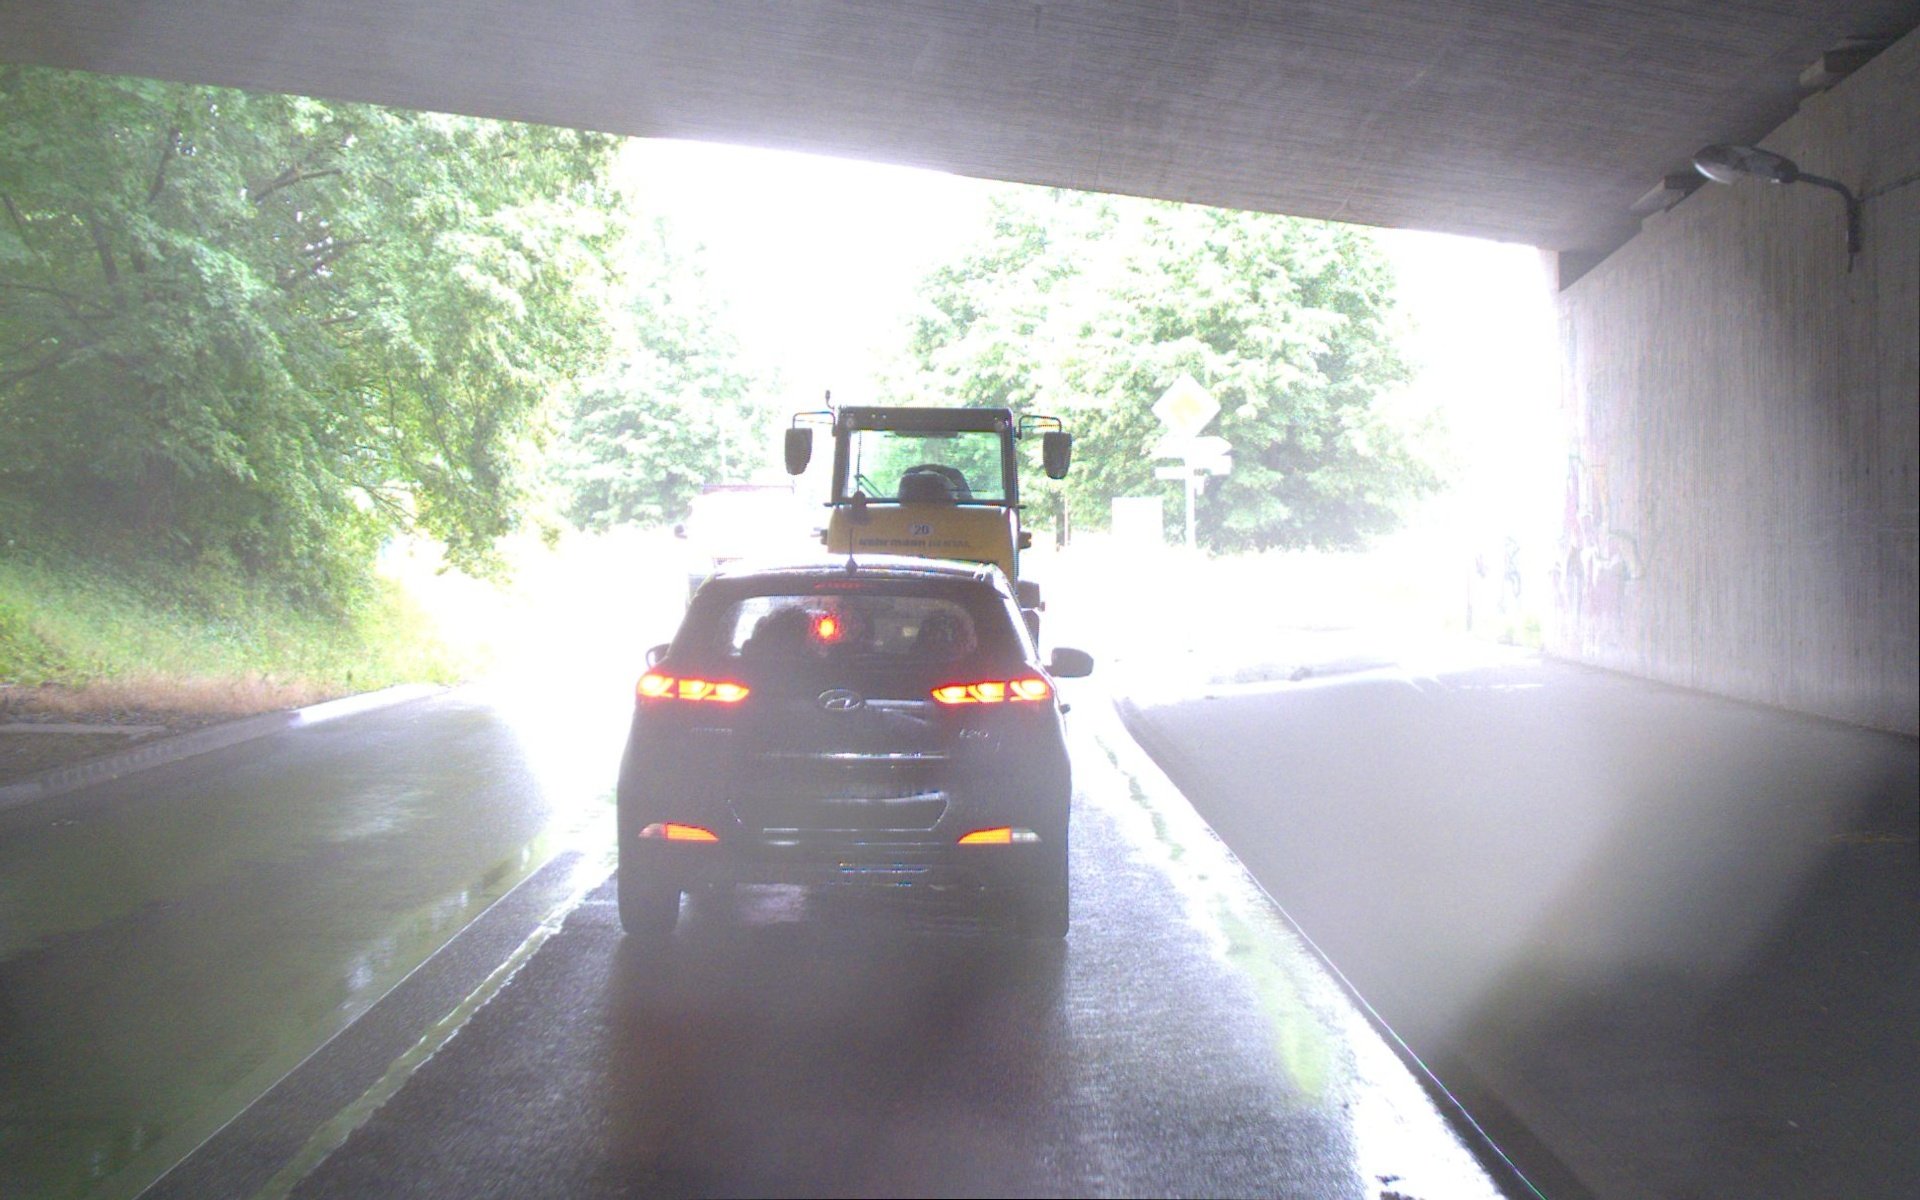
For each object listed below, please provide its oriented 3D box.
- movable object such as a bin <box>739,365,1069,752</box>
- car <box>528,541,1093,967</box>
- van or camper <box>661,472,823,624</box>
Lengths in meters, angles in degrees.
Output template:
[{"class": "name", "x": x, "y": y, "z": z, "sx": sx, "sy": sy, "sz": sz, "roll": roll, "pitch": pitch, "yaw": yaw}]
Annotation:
[{"class": "movable object such as a bin", "x": -0.462, "y": -0.351, "z": 27.423, "sx": 2.245, "sy": 2.660, "sz": 6.627, "roll": 1, "pitch": 1, "yaw": -1}, {"class": "car", "x": -0.652, "y": 0.522, "z": 14.342, "sx": 1.993, "sy": 1.482, "sz": 4.001, "roll": 1, "pitch": 1, "yaw": -3}, {"class": "van or camper", "x": -3.167, "y": -0.769, "z": 50.802, "sx": 1.993, "sy": 2.091, "sz": 4.691, "roll": 1, "pitch": 1, "yaw": 1}]
